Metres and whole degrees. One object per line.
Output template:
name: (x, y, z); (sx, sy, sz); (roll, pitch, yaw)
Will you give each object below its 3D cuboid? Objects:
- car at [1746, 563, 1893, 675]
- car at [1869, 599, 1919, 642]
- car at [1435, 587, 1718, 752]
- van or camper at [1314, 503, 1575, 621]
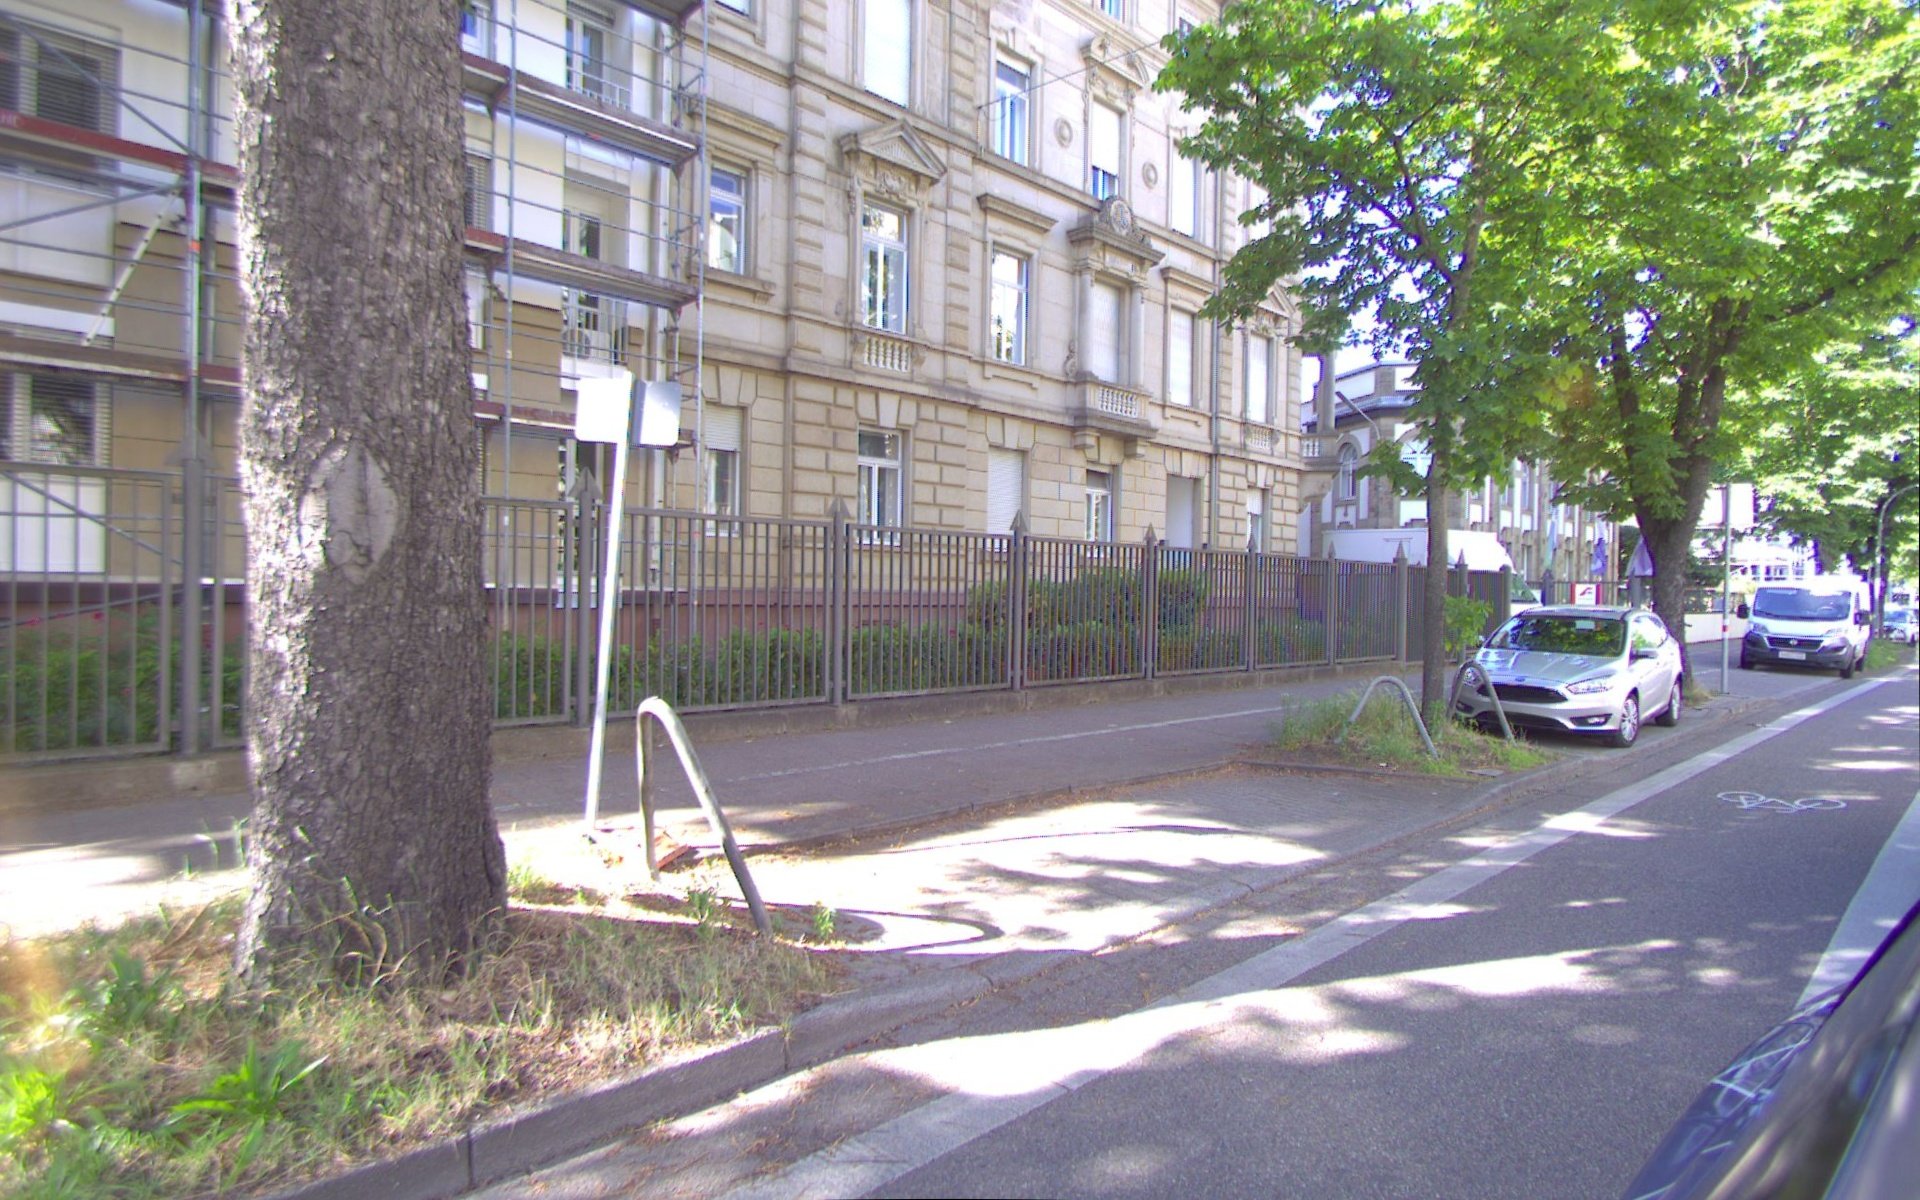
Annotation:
car: (20.977, 0.353, 24.594); (5.710, 2.371, 2.129); (-1, 3, -44)
car: (37.433, 0.778, 40.078); (4.035, 1.569, 1.863); (-1, 1, -44)
car: (7.582, 0.667, 12.264); (4.294, 1.562, 1.874); (-1, 3, -44)
van or camper: (12.250, -0.888, 26.373); (2.078, 2.660, 6.751); (0, 0, -17)
